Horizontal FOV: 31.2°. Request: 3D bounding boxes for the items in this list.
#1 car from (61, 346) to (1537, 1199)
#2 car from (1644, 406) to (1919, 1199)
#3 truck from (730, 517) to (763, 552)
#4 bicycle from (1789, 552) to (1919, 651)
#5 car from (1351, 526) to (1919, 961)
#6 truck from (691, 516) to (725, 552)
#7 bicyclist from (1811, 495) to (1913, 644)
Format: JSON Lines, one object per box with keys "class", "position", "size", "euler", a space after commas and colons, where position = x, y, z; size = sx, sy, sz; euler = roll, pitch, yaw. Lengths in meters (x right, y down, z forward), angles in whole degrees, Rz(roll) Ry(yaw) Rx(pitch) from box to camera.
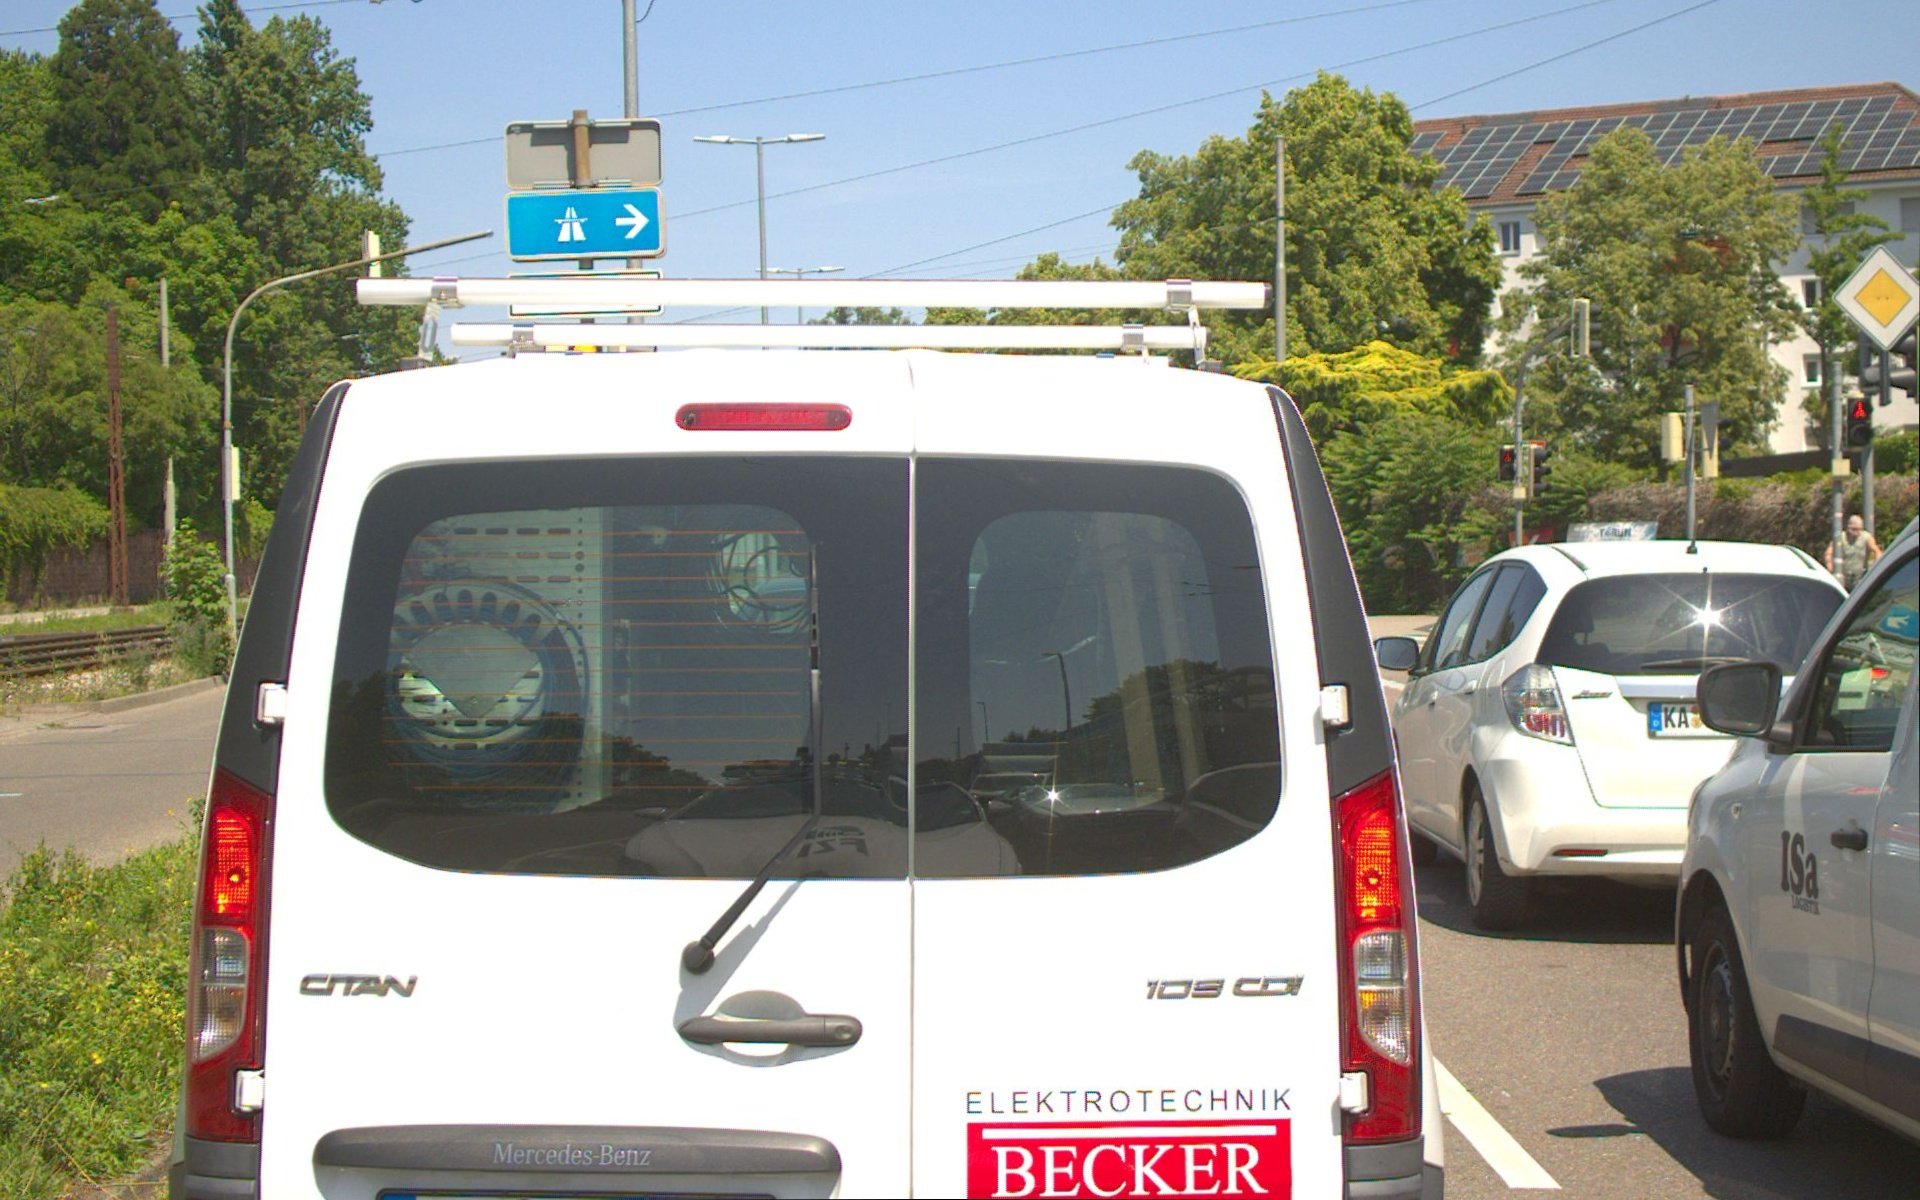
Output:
{"class": "car", "position": [-0.225, 0.522, 6.452], "size": [1.821, 1.734, 4.396], "euler": [0, 1, -1]}
{"class": "car", "position": [2.777, 0.508, 7.258], "size": [1.727, 1.782, 4.065], "euler": [1, 1, -2]}
{"class": "truck", "position": [-16.028, -4.909, 257.742], "size": [2.139, 2.579, 5.890], "euler": [1, 1, -1]}
{"class": "bicycle", "position": [10.835, 0.004, 41.489], "size": [0.892, 1.155, 1.957], "euler": [0, 1, -10]}
{"class": "car", "position": [2.840, 0.487, 14.621], "size": [1.835, 1.563, 4.000], "euler": [1, 1, -1]}
{"class": "truck", "position": [-18.805, -4.937, 256.726], "size": [2.139, 2.579, 5.890], "euler": [1, 1, -1]}
{"class": "bicyclist", "position": [10.873, -0.373, 41.463], "size": [0.973, 1.782, 0.726], "euler": [0, 0, -10]}
